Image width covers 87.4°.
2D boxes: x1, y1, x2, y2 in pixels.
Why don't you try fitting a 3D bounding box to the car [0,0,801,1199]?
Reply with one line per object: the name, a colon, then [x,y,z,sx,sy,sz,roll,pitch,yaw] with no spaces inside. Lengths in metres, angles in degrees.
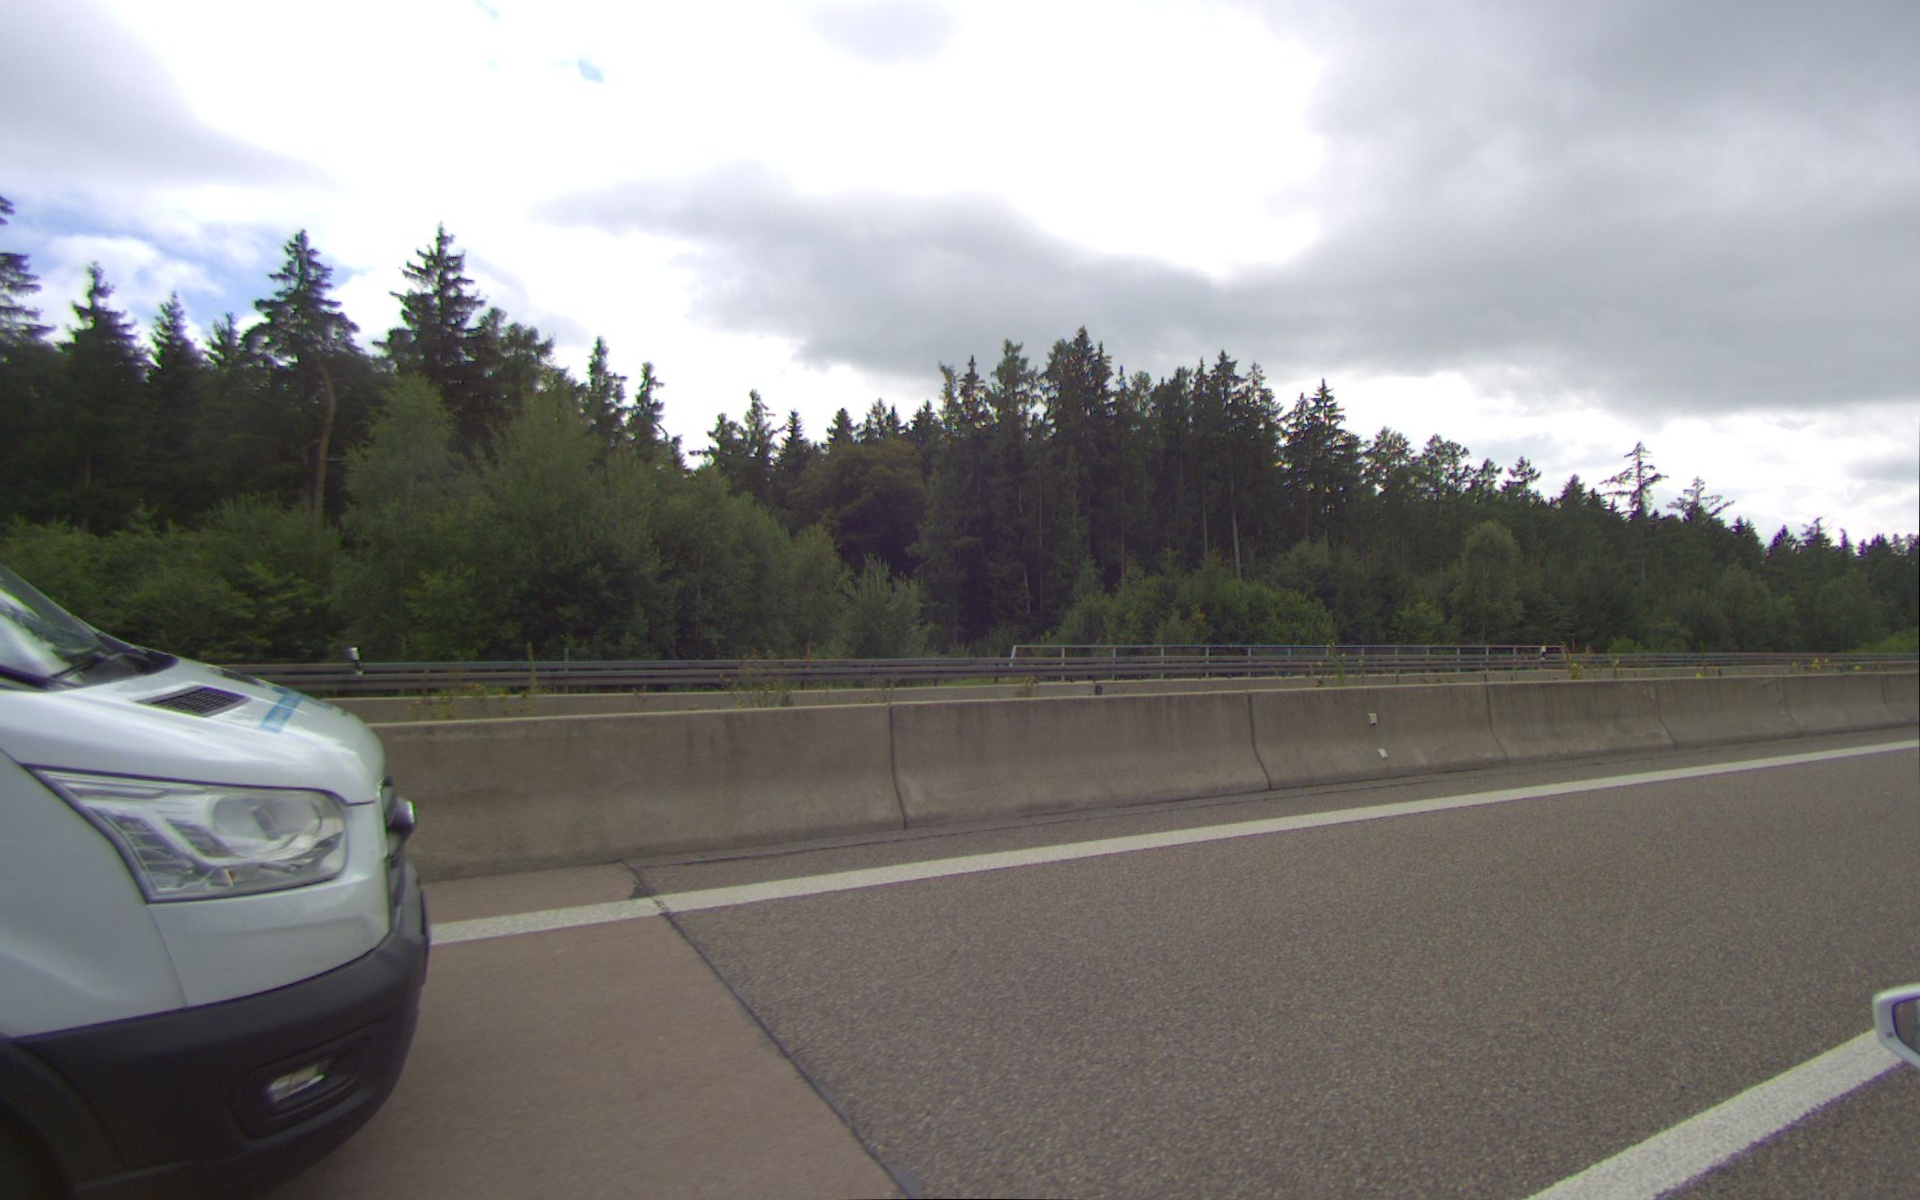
car: [-3.958,0.123,1.582,7.049,2.540,2.127,1,-1,-31]
